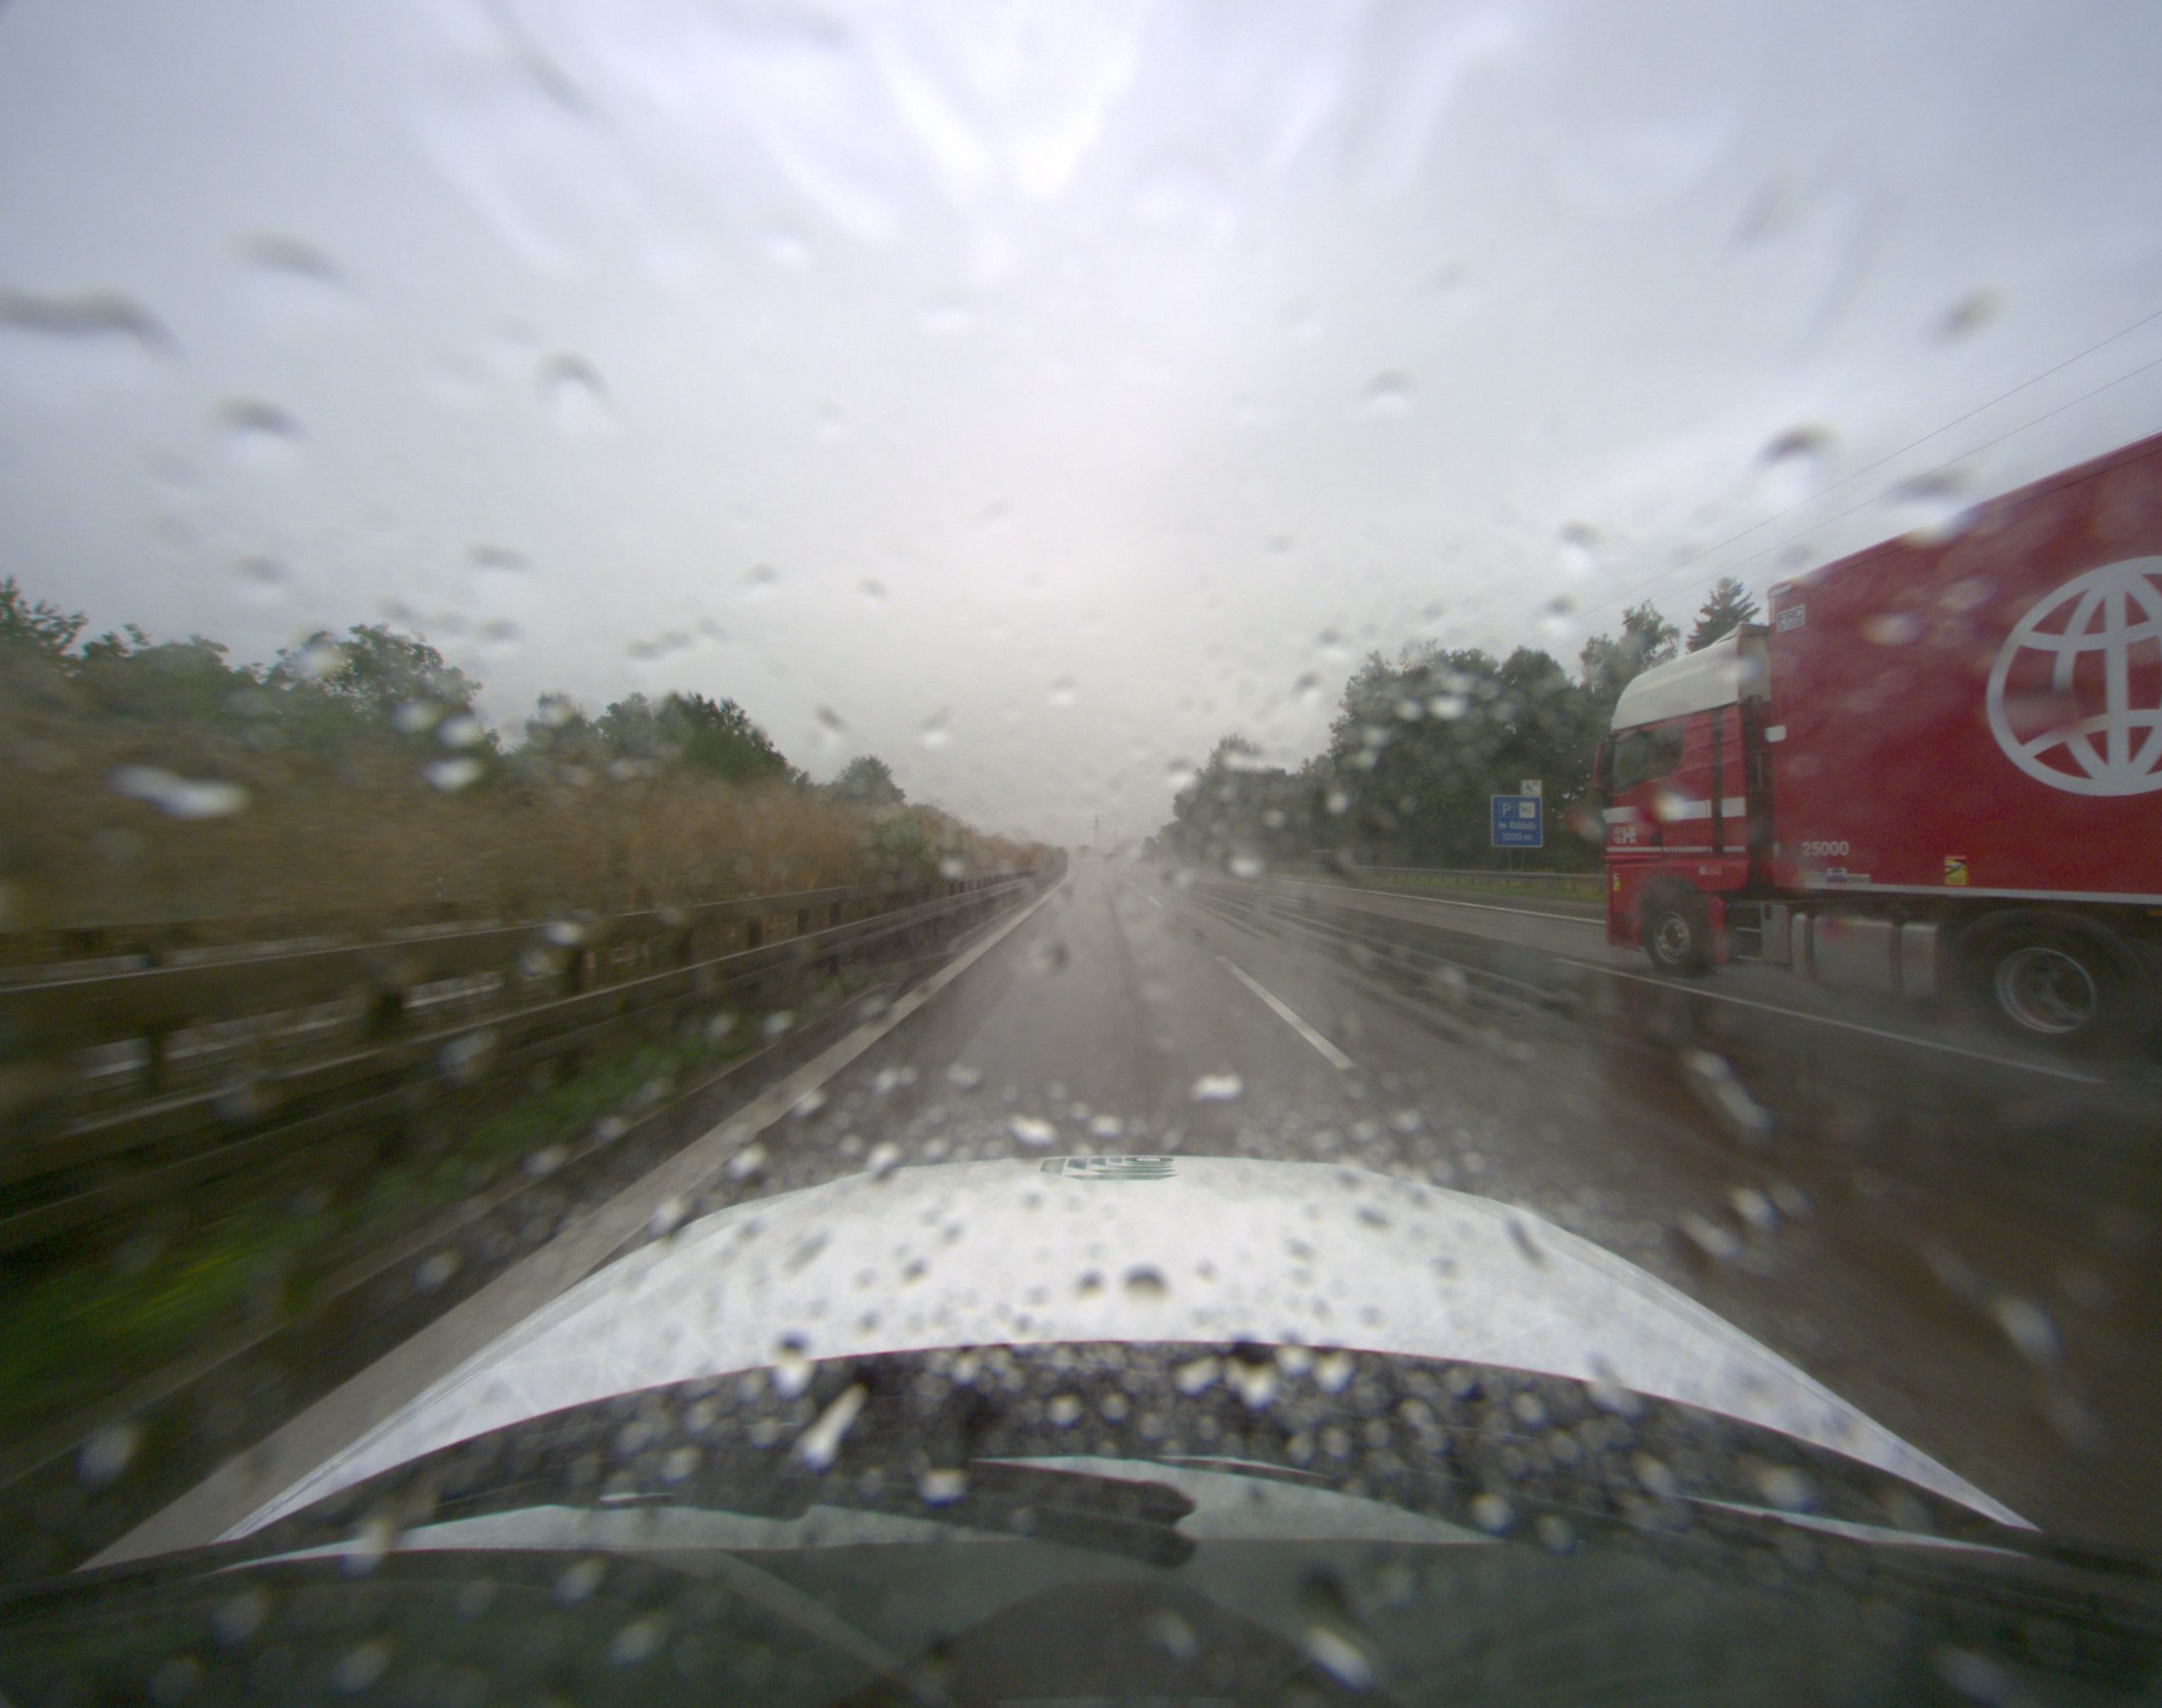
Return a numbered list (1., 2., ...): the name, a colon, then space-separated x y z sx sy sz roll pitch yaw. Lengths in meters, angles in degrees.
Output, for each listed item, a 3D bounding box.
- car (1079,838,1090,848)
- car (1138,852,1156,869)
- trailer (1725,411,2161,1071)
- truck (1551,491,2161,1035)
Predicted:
1. car: 1.118 -3.453 254.594 3.193 3.192 7.248 -1 0 -3
2. car: 8.517 0.842 105.480 1.802 2.158 3.997 -1 0 -2
3. trailer: 7.723 -0.701 1.420 2.611 3.955 13.632 -1 0 1
4. truck: 7.864 -0.670 8.666 2.611 3.955 5.434 -1 0 1
